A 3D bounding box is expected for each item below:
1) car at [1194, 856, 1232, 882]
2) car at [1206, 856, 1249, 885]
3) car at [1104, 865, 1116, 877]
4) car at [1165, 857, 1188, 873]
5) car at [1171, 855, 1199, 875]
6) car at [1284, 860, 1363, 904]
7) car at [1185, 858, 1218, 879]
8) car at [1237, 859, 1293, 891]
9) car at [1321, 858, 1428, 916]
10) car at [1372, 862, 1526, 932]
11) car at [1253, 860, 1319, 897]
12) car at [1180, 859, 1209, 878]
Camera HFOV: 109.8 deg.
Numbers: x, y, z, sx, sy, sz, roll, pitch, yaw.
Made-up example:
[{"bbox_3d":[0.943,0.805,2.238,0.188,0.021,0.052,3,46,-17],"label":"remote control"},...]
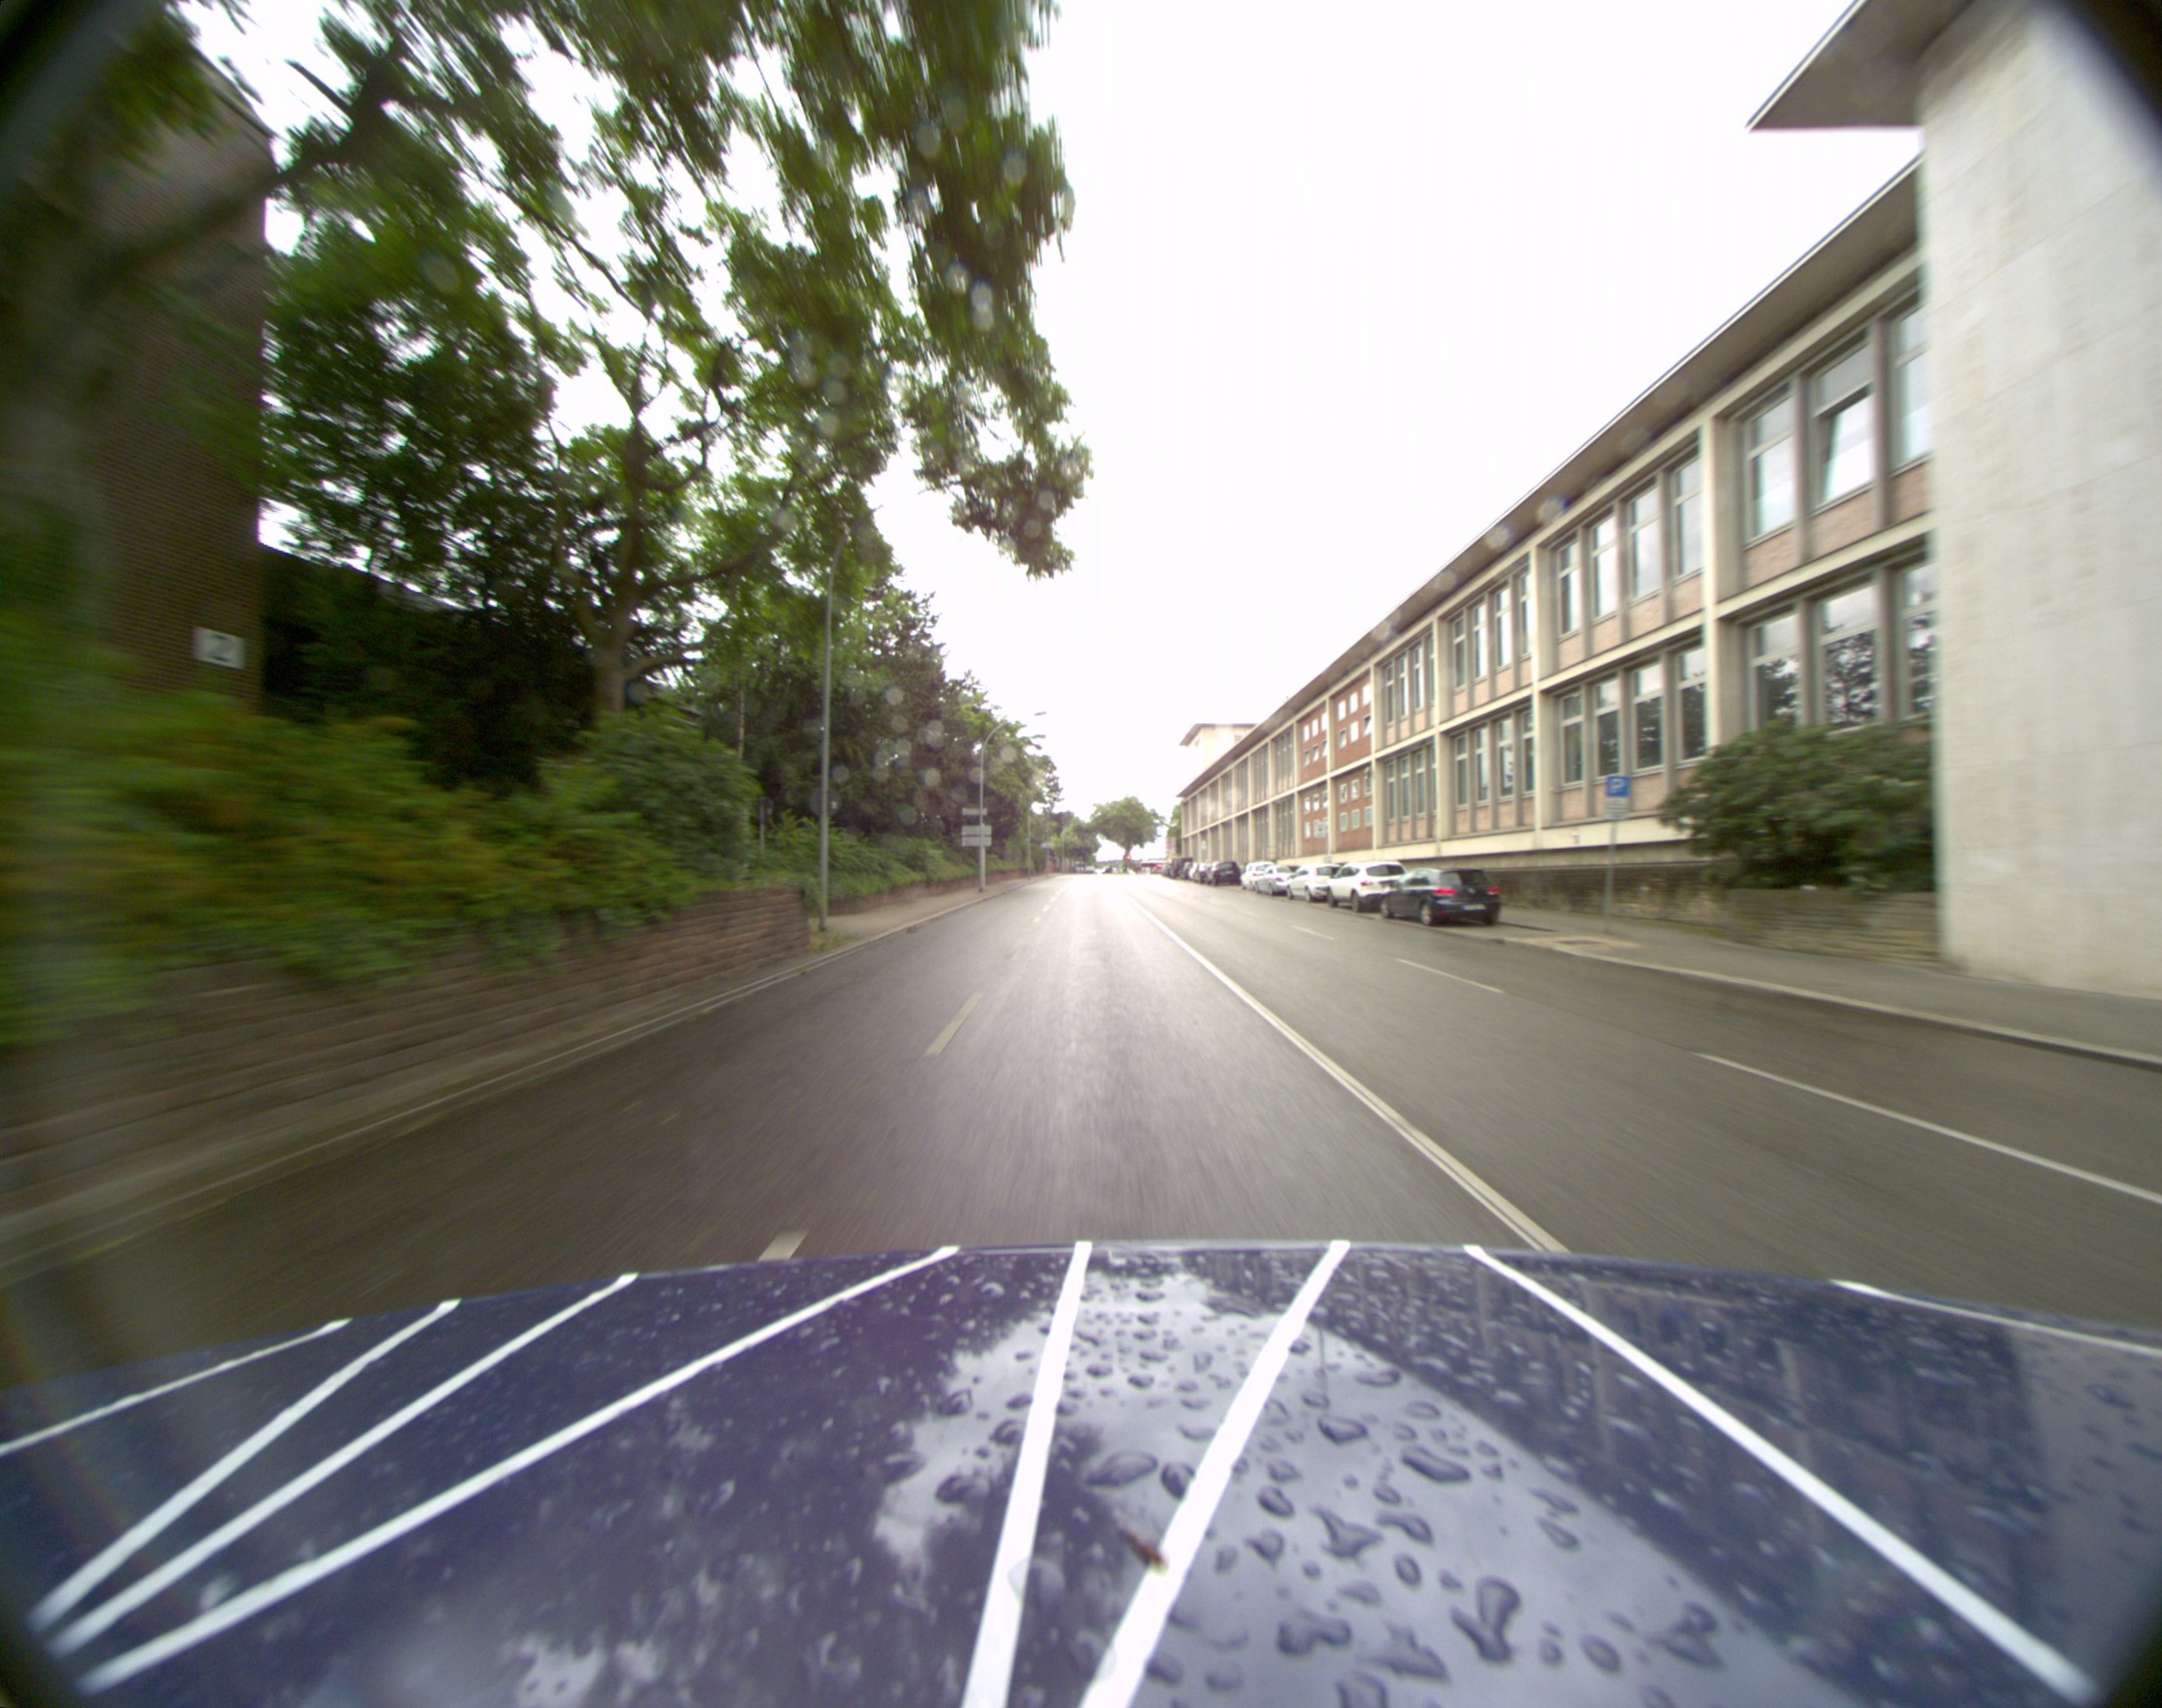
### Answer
[{"bbox_3d":[9.586,1.071,55.532,1.999,1.724,3.999,-2,1,-1],"label":"car"},{"bbox_3d":[9.627,1.065,50.326,1.998,1.701,3.999,-2,1,0],"label":"car"},{"bbox_3d":[5.388,3.093,141.518,1.805,2.002,3.998,-2,1,-5],"label":"car"},{"bbox_3d":[10.138,1.156,80.636,1.998,1.523,4.000,-2,1,2],"label":"car"},{"bbox_3d":[9.742,1.005,71.364,1.999,1.637,3.998,-3,2,-1],"label":"car"},{"bbox_3d":[9.720,1.072,30.757,1.998,1.503,4.000,-2,1,2],"label":"car"},{"bbox_3d":[9.879,1.182,62.502,1.998,1.569,3.999,-2,1,0],"label":"car"},{"bbox_3d":[10.027,1.108,41.701,1.999,1.521,3.999,-2,1,0],"label":"car"},{"bbox_3d":[9.612,1.028,25.227,1.998,1.632,3.999,-2,1,0],"label":"car"},{"bbox_3d":[9.497,1.040,20.015,1.999,1.520,3.999,-2,1,-1],"label":"car"},{"bbox_3d":[9.633,1.119,35.975,1.998,1.482,4.185,-2,1,1],"label":"car"},{"bbox_3d":[9.939,1.241,66.780,1.998,1.528,3.999,-2,1,0],"label":"car"}]
